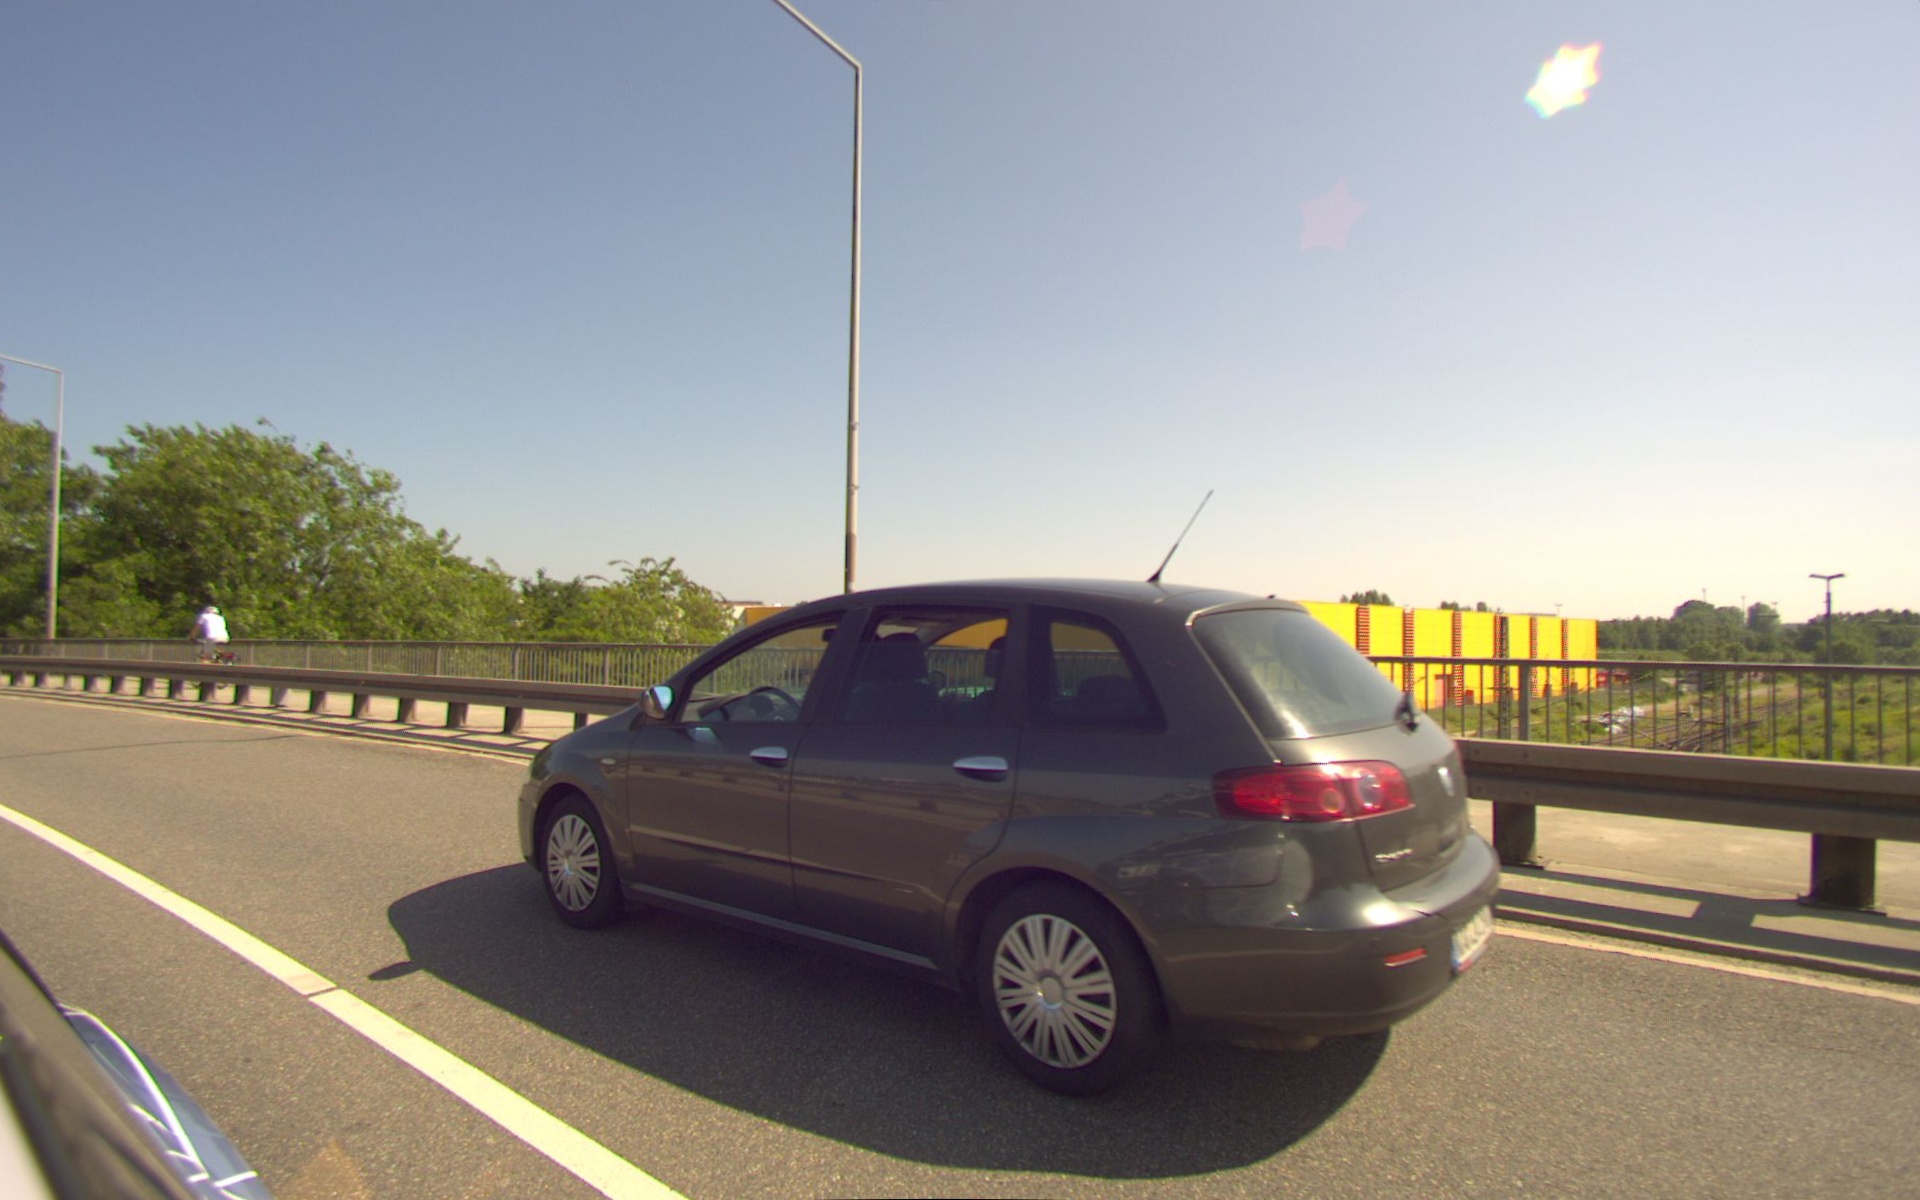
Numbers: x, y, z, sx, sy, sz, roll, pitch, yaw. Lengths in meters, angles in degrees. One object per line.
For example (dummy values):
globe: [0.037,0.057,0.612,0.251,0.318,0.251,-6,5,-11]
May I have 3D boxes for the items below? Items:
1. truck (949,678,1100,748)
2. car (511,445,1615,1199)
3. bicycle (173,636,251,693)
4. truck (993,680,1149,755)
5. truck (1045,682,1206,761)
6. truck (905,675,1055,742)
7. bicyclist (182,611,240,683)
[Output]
truck: [7.038,11.574,106.137,17.286,5.719,5.794,0,-1,-44]
car: [0.038,0.586,4.191,4.299,1.637,1.715,-2,-4,40]
bicycle: [-15.561,1.334,21.029,2.144,1.144,0.606,-2,-4,35]
truck: [11.451,11.515,101.608,17.286,5.719,5.981,0,-1,-44]
truck: [16.088,11.239,96.480,17.286,5.719,5.981,0,-1,-44]
truck: [2.478,11.628,110.909,17.286,5.719,5.981,0,-1,-44]
bicyclist: [-15.616,0.967,21.088,1.075,1.450,0.603,-1,-3,35]
